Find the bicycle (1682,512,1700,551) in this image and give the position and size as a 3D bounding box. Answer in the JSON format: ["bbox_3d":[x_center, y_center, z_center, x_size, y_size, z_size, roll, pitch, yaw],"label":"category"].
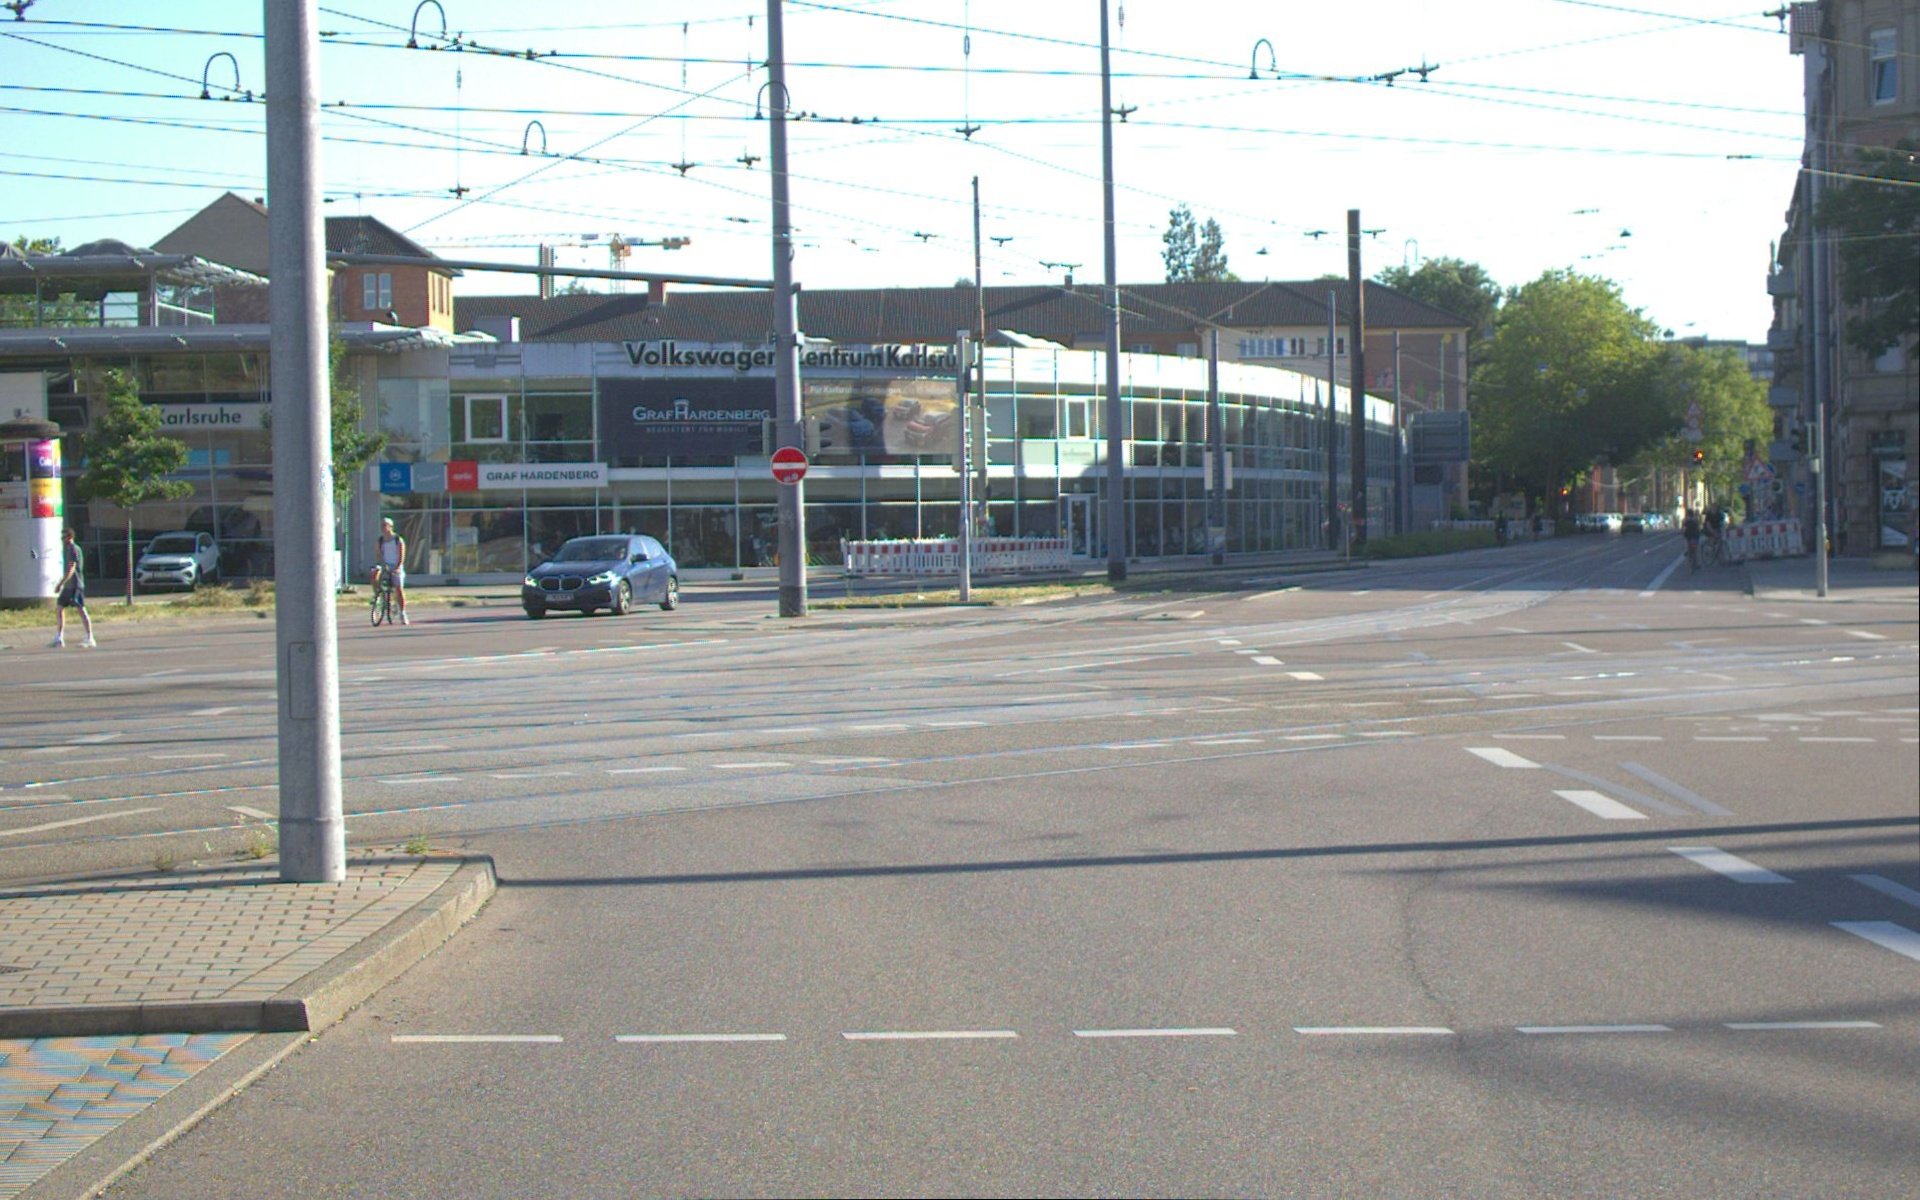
[{"bbox_3d":[17.891,-1.676,84.178,0.410,0.938,1.844,1,1,12],"label":"bicycle"}]

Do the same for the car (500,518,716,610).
[{"bbox_3d":[-6.277,-0.635,61.674,1.996,1.579,3.994,1,1,27],"label":"car"}]

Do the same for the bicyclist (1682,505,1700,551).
[{"bbox_3d":[17.913,-1.765,84.274,0.408,1.112,0.399,1,0,11],"label":"bicyclist"}]

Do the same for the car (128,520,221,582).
[{"bbox_3d":[-22.661,-1.405,99.332,1.993,1.744,4.001,1,1,-4],"label":"car"}]

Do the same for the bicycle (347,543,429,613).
[{"bbox_3d":[-9.918,-0.384,59.642,0.613,1.185,1.867,1,1,17],"label":"bicycle"}]

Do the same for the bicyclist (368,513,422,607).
[{"bbox_3d":[-9.839,-0.695,59.870,0.598,1.610,0.822,1,0,17],"label":"bicyclist"}]

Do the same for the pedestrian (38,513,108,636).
[{"bbox_3d":[-13.671,-0.397,53.012,0.795,1.880,0.758,1,0,7],"label":"pedestrian"}]

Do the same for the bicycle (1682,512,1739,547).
[{"bbox_3d":[20.956,-1.959,95.992,0.657,0.949,1.600,1,1,-28],"label":"bicycle"}]

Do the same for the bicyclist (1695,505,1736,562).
[{"bbox_3d":[21.070,-1.863,95.848,0.771,1.571,0.762,1,0,-28],"label":"bicyclist"}]
